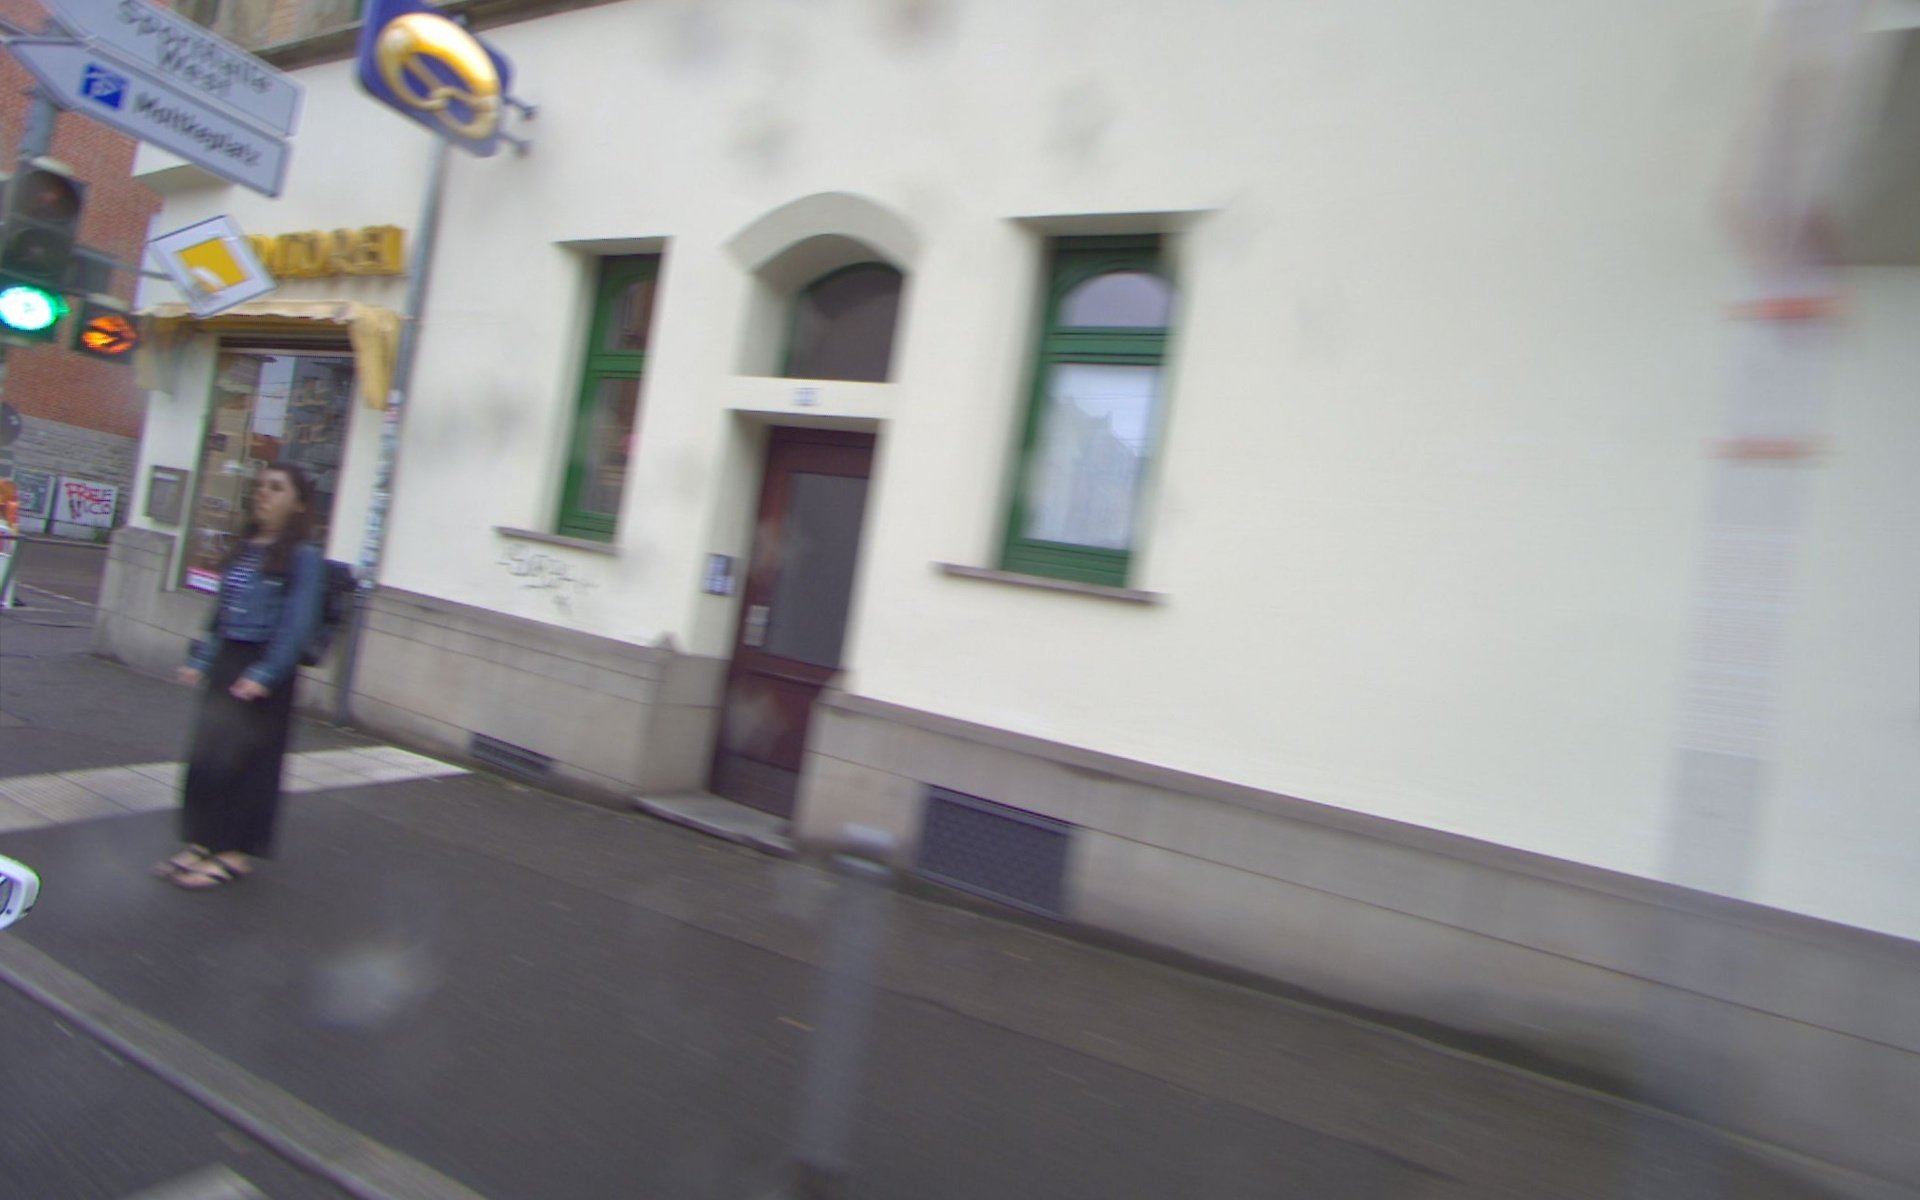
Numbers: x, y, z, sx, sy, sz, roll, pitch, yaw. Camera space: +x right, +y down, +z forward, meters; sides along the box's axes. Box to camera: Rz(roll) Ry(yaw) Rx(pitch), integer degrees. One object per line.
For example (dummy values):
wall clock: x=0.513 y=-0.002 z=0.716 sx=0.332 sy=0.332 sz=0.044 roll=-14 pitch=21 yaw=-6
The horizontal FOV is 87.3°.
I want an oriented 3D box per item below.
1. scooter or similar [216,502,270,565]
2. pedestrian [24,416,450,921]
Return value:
scooter or similar: x=-19.040 y=-1.775 z=26.697 sx=1.492 sy=1.435 sz=0.409 roll=10 pitch=1 yaw=30
pedestrian: x=-2.924 y=0.227 z=4.124 sx=0.914 sy=1.742 sz=1.018 roll=7 pitch=1 yaw=30
